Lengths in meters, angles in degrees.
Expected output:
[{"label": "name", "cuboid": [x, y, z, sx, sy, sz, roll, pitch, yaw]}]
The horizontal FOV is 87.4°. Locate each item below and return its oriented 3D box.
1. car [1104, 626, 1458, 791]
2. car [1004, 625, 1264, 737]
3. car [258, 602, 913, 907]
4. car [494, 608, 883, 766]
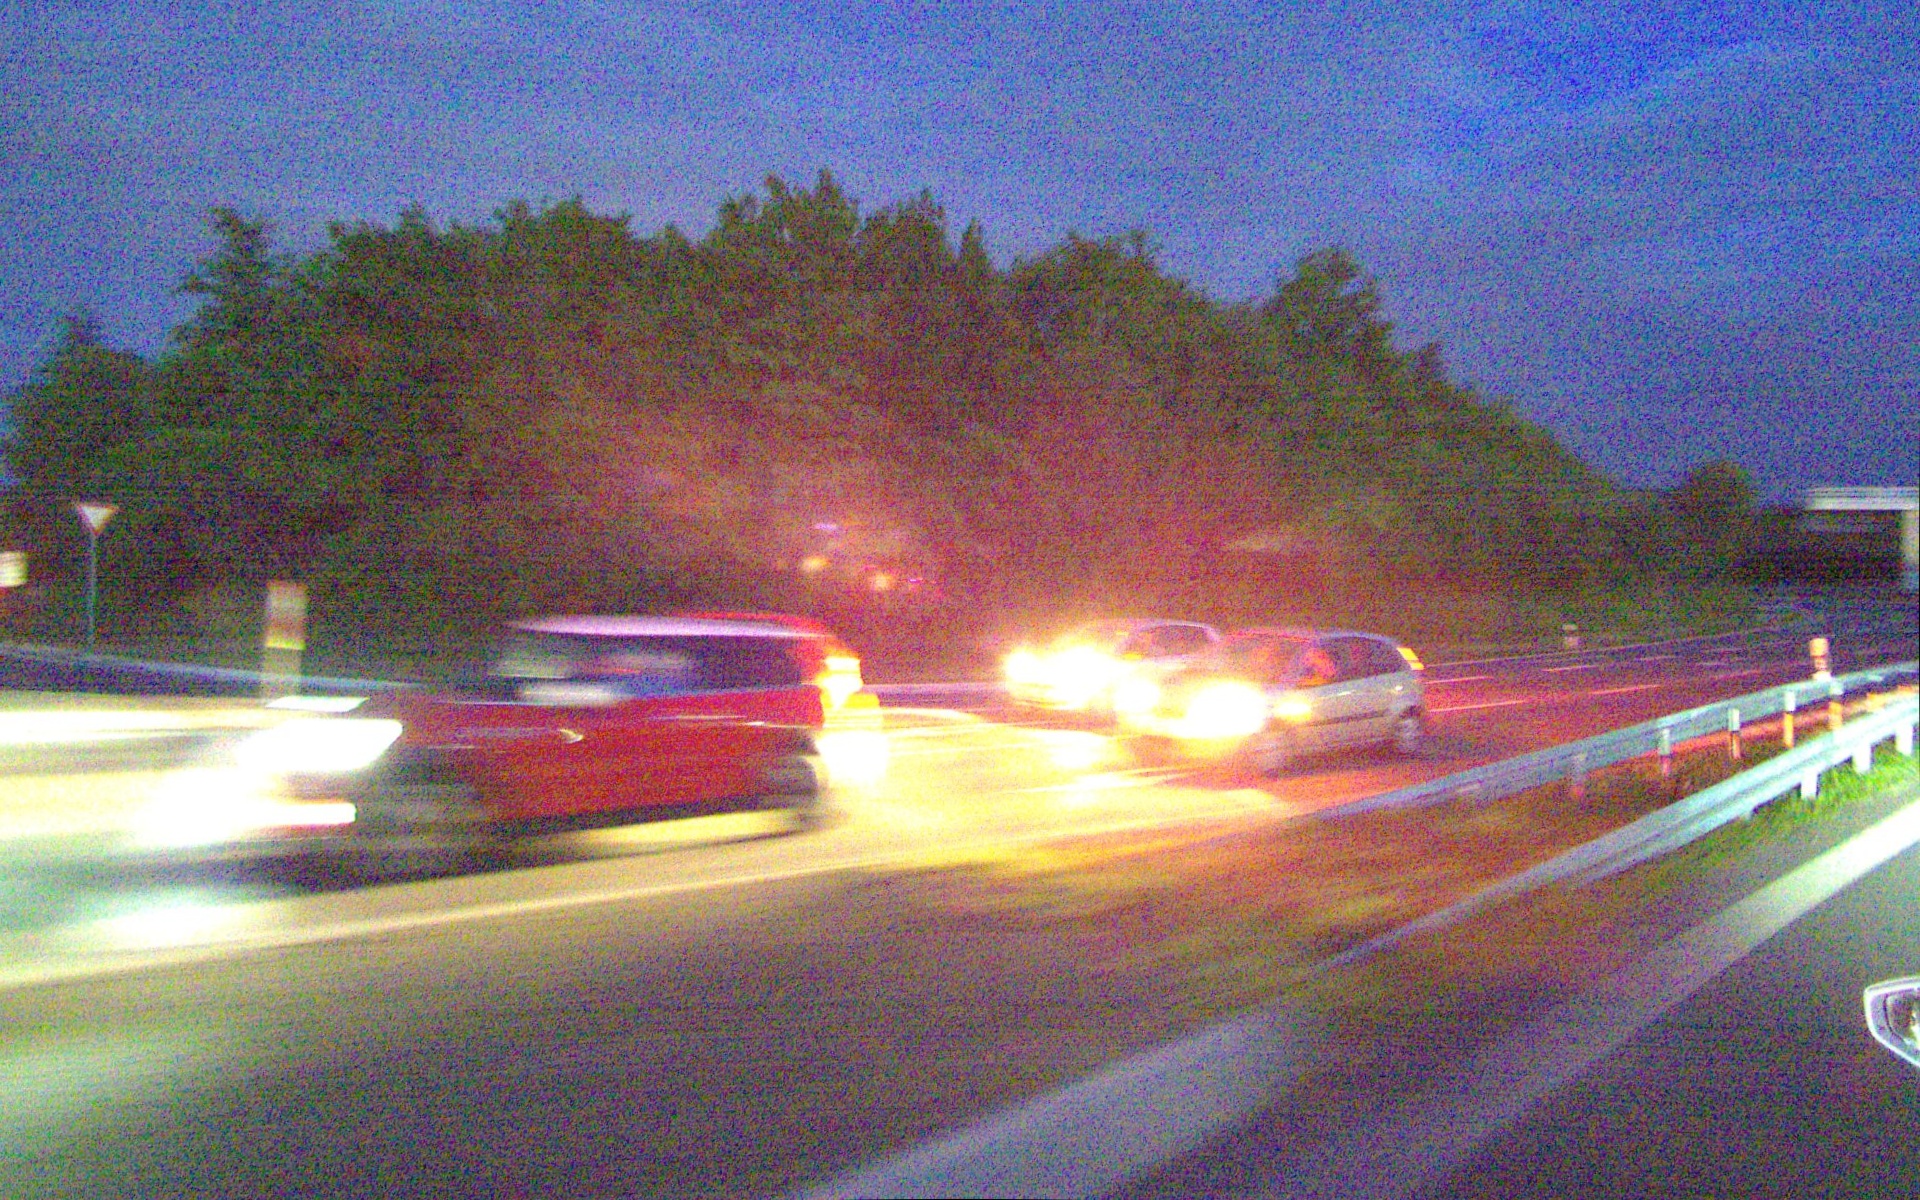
[{"label": "car", "cuboid": [3.626, 1.047, 11.109, 3.944, 1.463, 1.699, 0, 0, -35]}, {"label": "car", "cuboid": [2.653, 1.115, 15.020, 3.774, 1.479, 1.673, 1, -2, -35]}, {"label": "car", "cuboid": [-2.397, 0.860, 6.838, 3.834, 1.494, 1.687, 3, -1, -36]}, {"label": "car", "cuboid": [-3.050, 0.908, 11.566, 3.960, 1.480, 1.743, 2, 0, -35]}]
